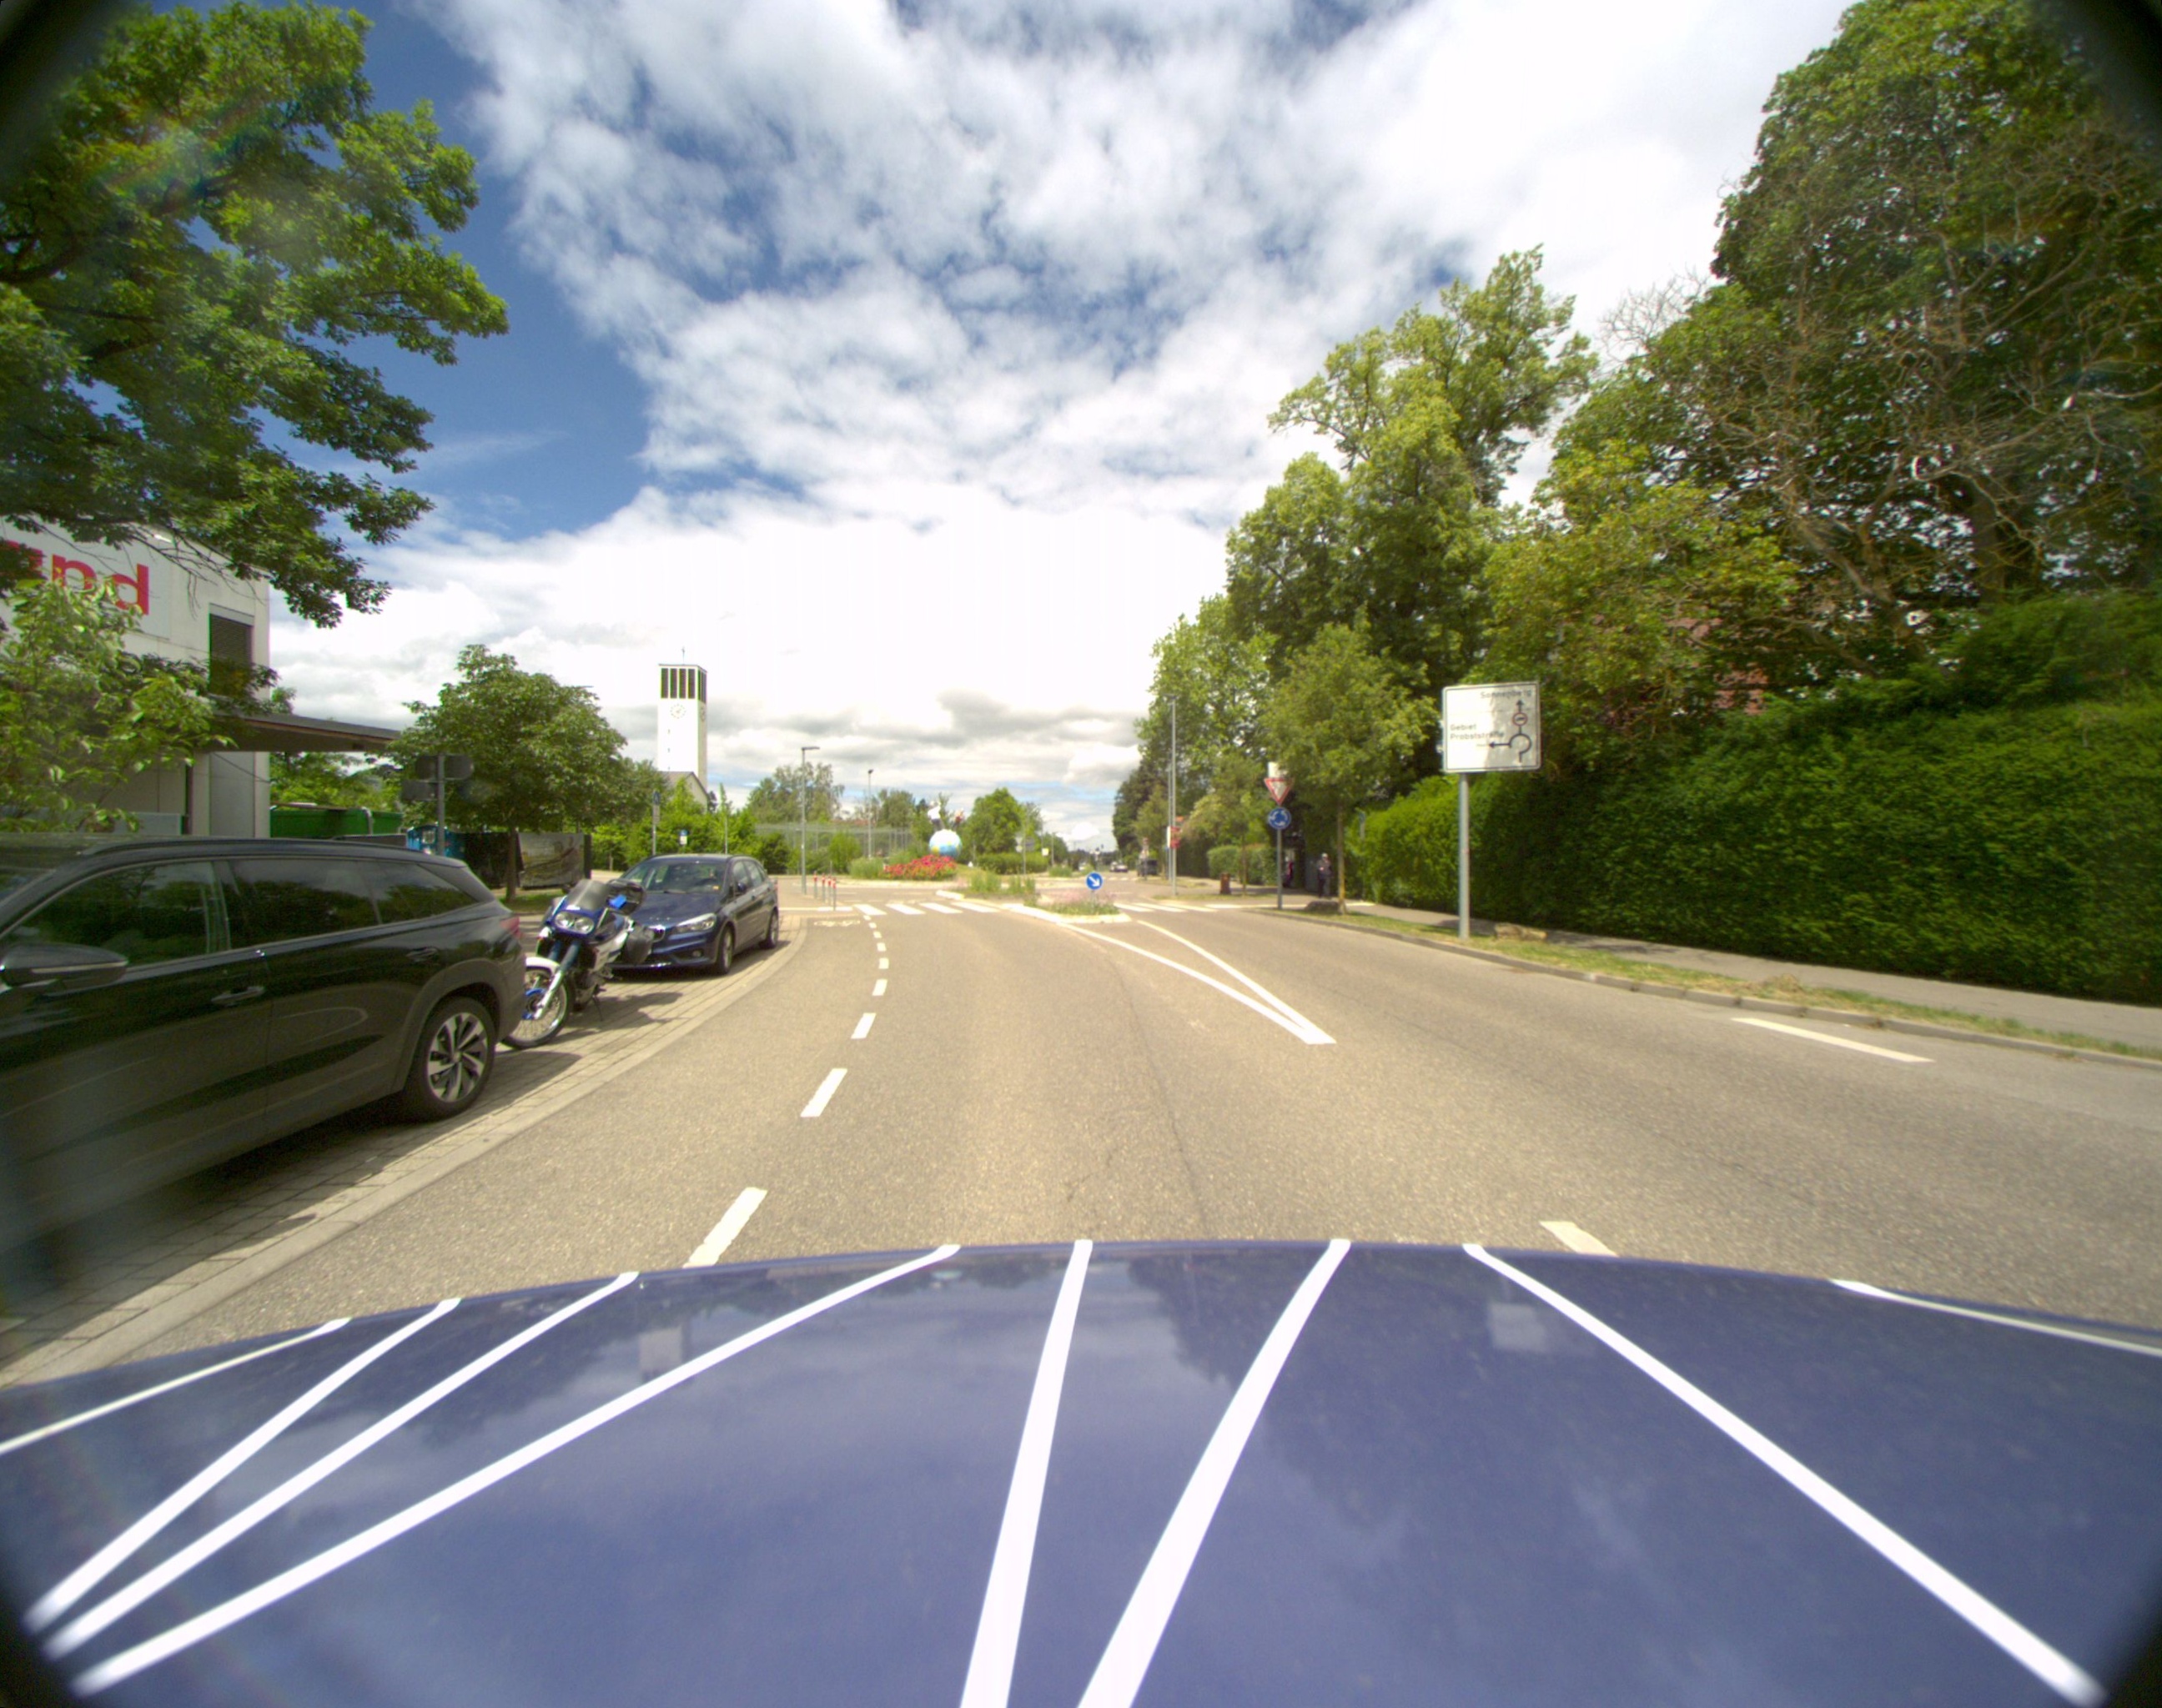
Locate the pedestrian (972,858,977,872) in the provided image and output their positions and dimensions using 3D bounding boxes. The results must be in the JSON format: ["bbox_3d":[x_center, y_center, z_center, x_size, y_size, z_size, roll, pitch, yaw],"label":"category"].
[{"bbox_3d":[-13.082,1.350,93.364,0.608,1.687,0.566,0,0,-16],"label":"pedestrian"}]

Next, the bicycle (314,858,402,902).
[{"bbox_3d":[-21.498,0.750,22.652,1.776,1.227,0.713,-1,1,-33],"label":"bicycle"}]

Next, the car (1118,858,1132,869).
[{"bbox_3d":[6.505,1.396,113.376,1.862,1.568,4.000,-1,0,1],"label":"car"}]

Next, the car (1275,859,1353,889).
[{"bbox_3d":[12.247,1.049,40.118,3.576,1.389,1.665,3,1,1],"label":"car"}]

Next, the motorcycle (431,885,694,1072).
[{"bbox_3d":[-4.492,0.998,6.885,1.075,1.298,2.258,2,0,-9],"label":"motorcycle"}]

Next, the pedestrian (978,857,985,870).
[{"bbox_3d":[-12.248,1.208,93.849,0.765,1.548,0.601,-1,1,-16],"label":"pedestrian"}]

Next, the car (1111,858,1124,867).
[{"bbox_3d":[6.844,1.615,144.496,1.999,1.696,3.998,1,0,-4],"label":"car"}]

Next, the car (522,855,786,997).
[{"bbox_3d":[-5.715,0.831,10.901,1.923,1.569,4.425,1,0,-10],"label":"car"}]

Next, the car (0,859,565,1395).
[{"bbox_3d":[-4.404,0.866,3.024,1.885,1.612,4.843,1,0,-7],"label":"car"}]

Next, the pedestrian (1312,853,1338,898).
[{"bbox_3d":[9.198,0.802,28.636,0.745,1.681,0.694,-1,1,2],"label":"pedestrian"}]

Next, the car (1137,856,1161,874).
[{"bbox_3d":[6.615,1.036,74.281,1.681,1.652,3.998,0,0,-3],"label":"car"}]
